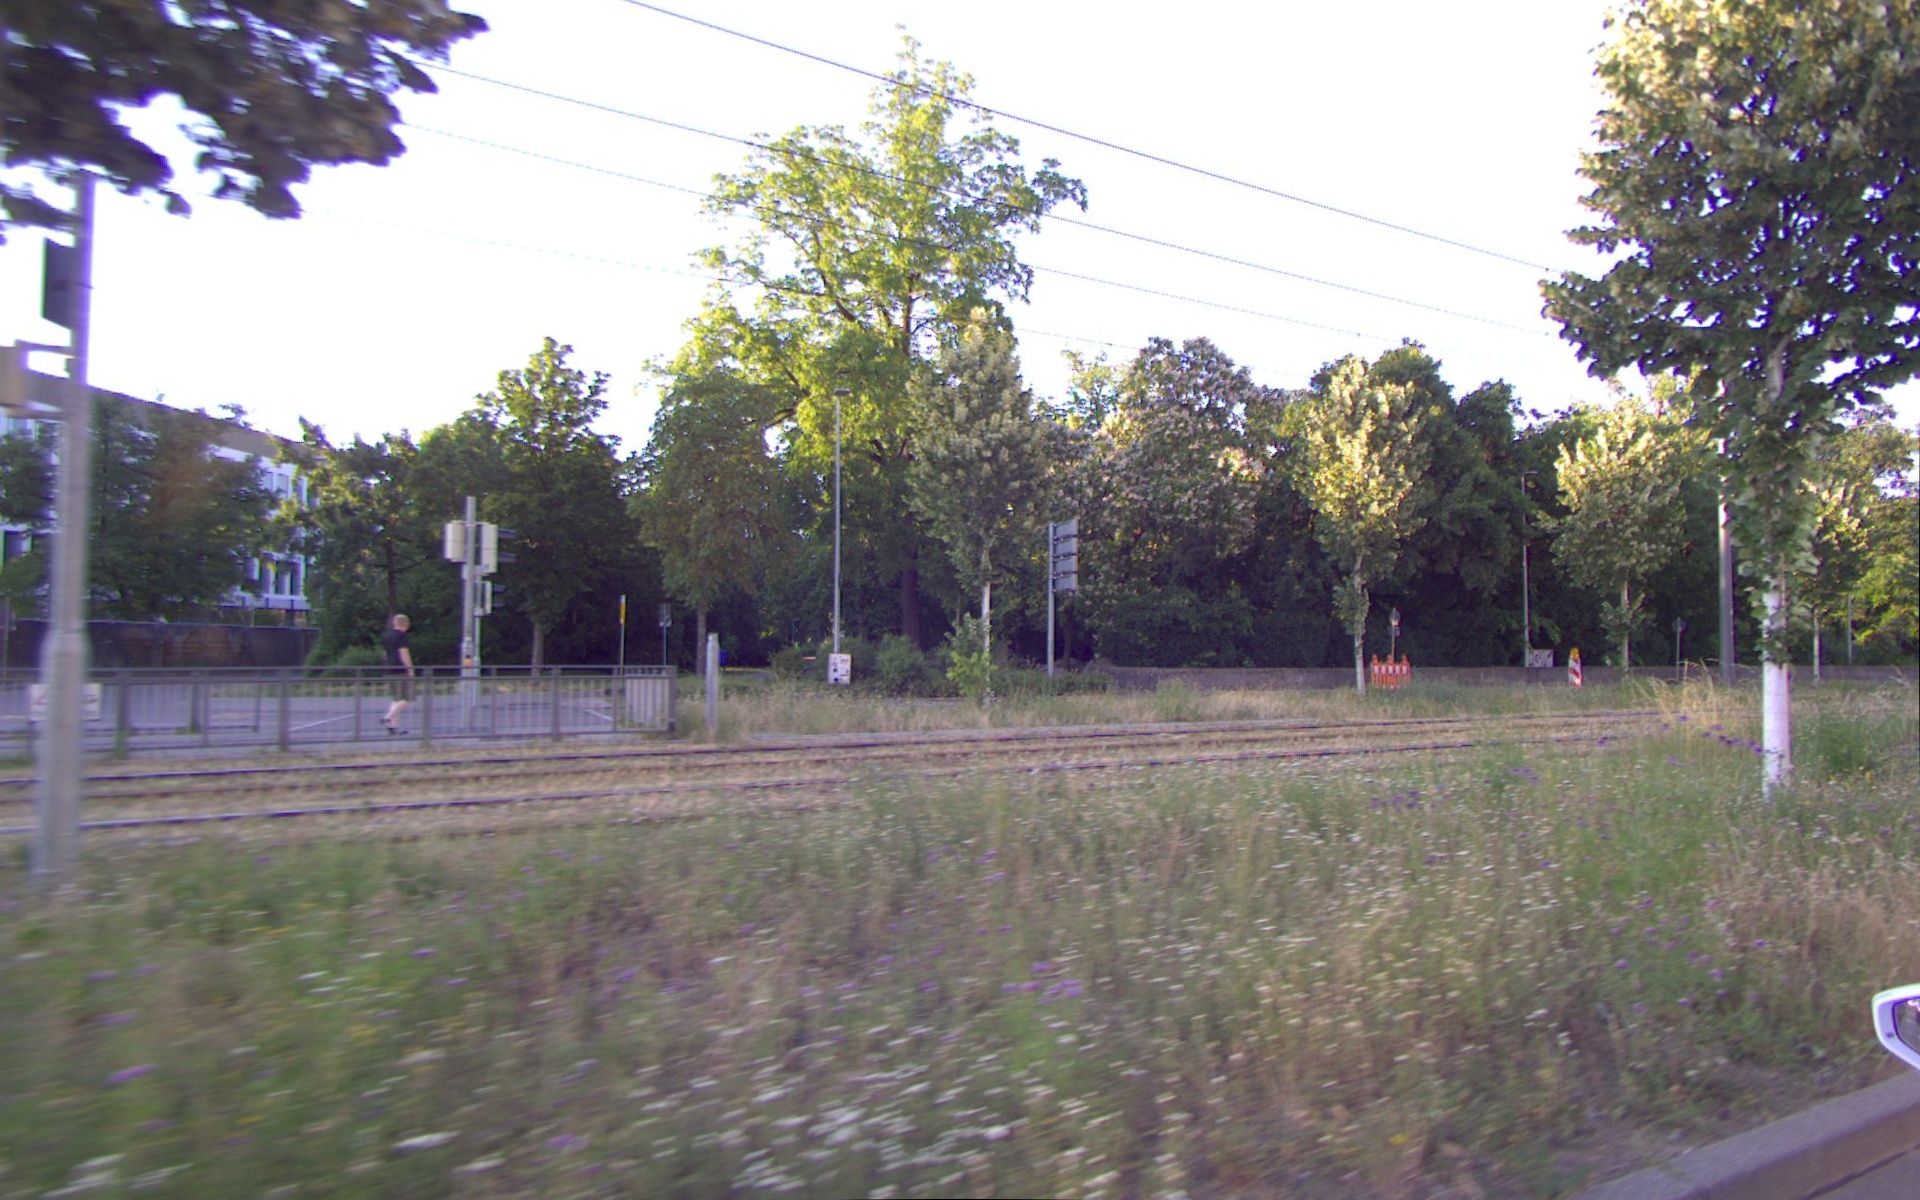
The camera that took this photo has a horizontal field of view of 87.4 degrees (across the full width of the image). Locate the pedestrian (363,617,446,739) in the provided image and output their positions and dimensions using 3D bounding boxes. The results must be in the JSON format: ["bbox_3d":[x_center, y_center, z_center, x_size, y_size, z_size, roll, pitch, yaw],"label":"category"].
[{"bbox_3d":[-7.771,1.075,14.071,0.664,1.629,0.671,-3,1,7],"label":"pedestrian"}]
